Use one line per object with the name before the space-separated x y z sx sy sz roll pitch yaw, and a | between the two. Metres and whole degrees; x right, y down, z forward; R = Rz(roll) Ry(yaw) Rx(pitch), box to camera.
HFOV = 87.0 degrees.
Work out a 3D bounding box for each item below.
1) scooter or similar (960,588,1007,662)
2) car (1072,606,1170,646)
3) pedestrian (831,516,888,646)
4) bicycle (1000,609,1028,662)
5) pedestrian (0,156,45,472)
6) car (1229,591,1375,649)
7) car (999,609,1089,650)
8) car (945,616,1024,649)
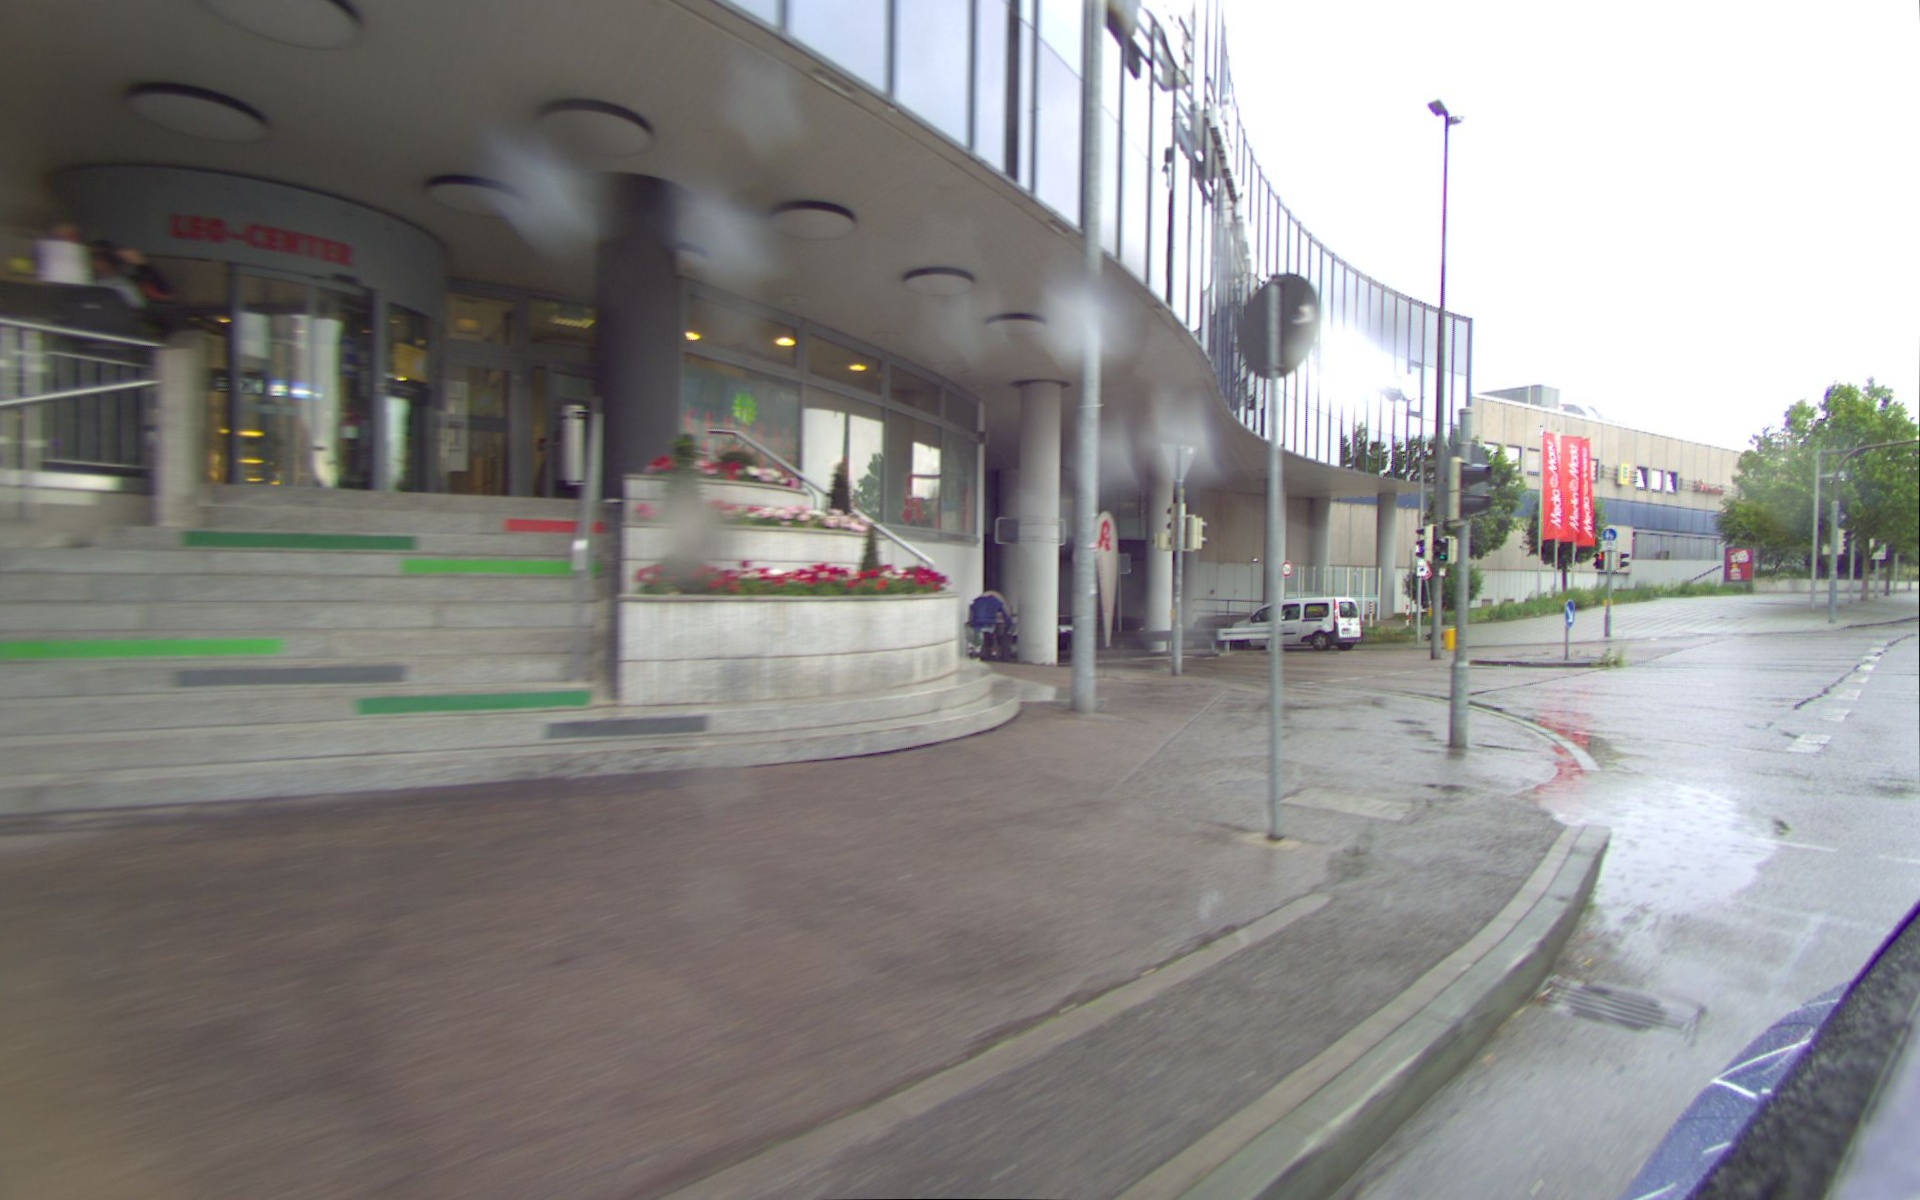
scooter or similar | 0.465 0.474 19.567 0.484 1.390 1.160 0 -1 24
car | 6.360 1.069 40.488 1.728 1.482 3.945 -2 -2 -30
pedestrian | -1.528 -0.280 15.431 0.590 1.932 0.650 0 0 31
bicycle | 1.147 0.766 21.364 0.444 1.031 1.582 1 -5 8
pedestrian | -6.997 -1.994 7.058 0.817 2.039 0.951 1 -1 -39
car | 11.537 0.658 34.353 1.898 1.820 4.290 -1 0 -40
car | 3.628 1.288 44.396 1.607 1.631 4.262 -3 0 -34
car | 1.126 1.509 48.117 1.751 1.418 4.001 -1 0 -33
